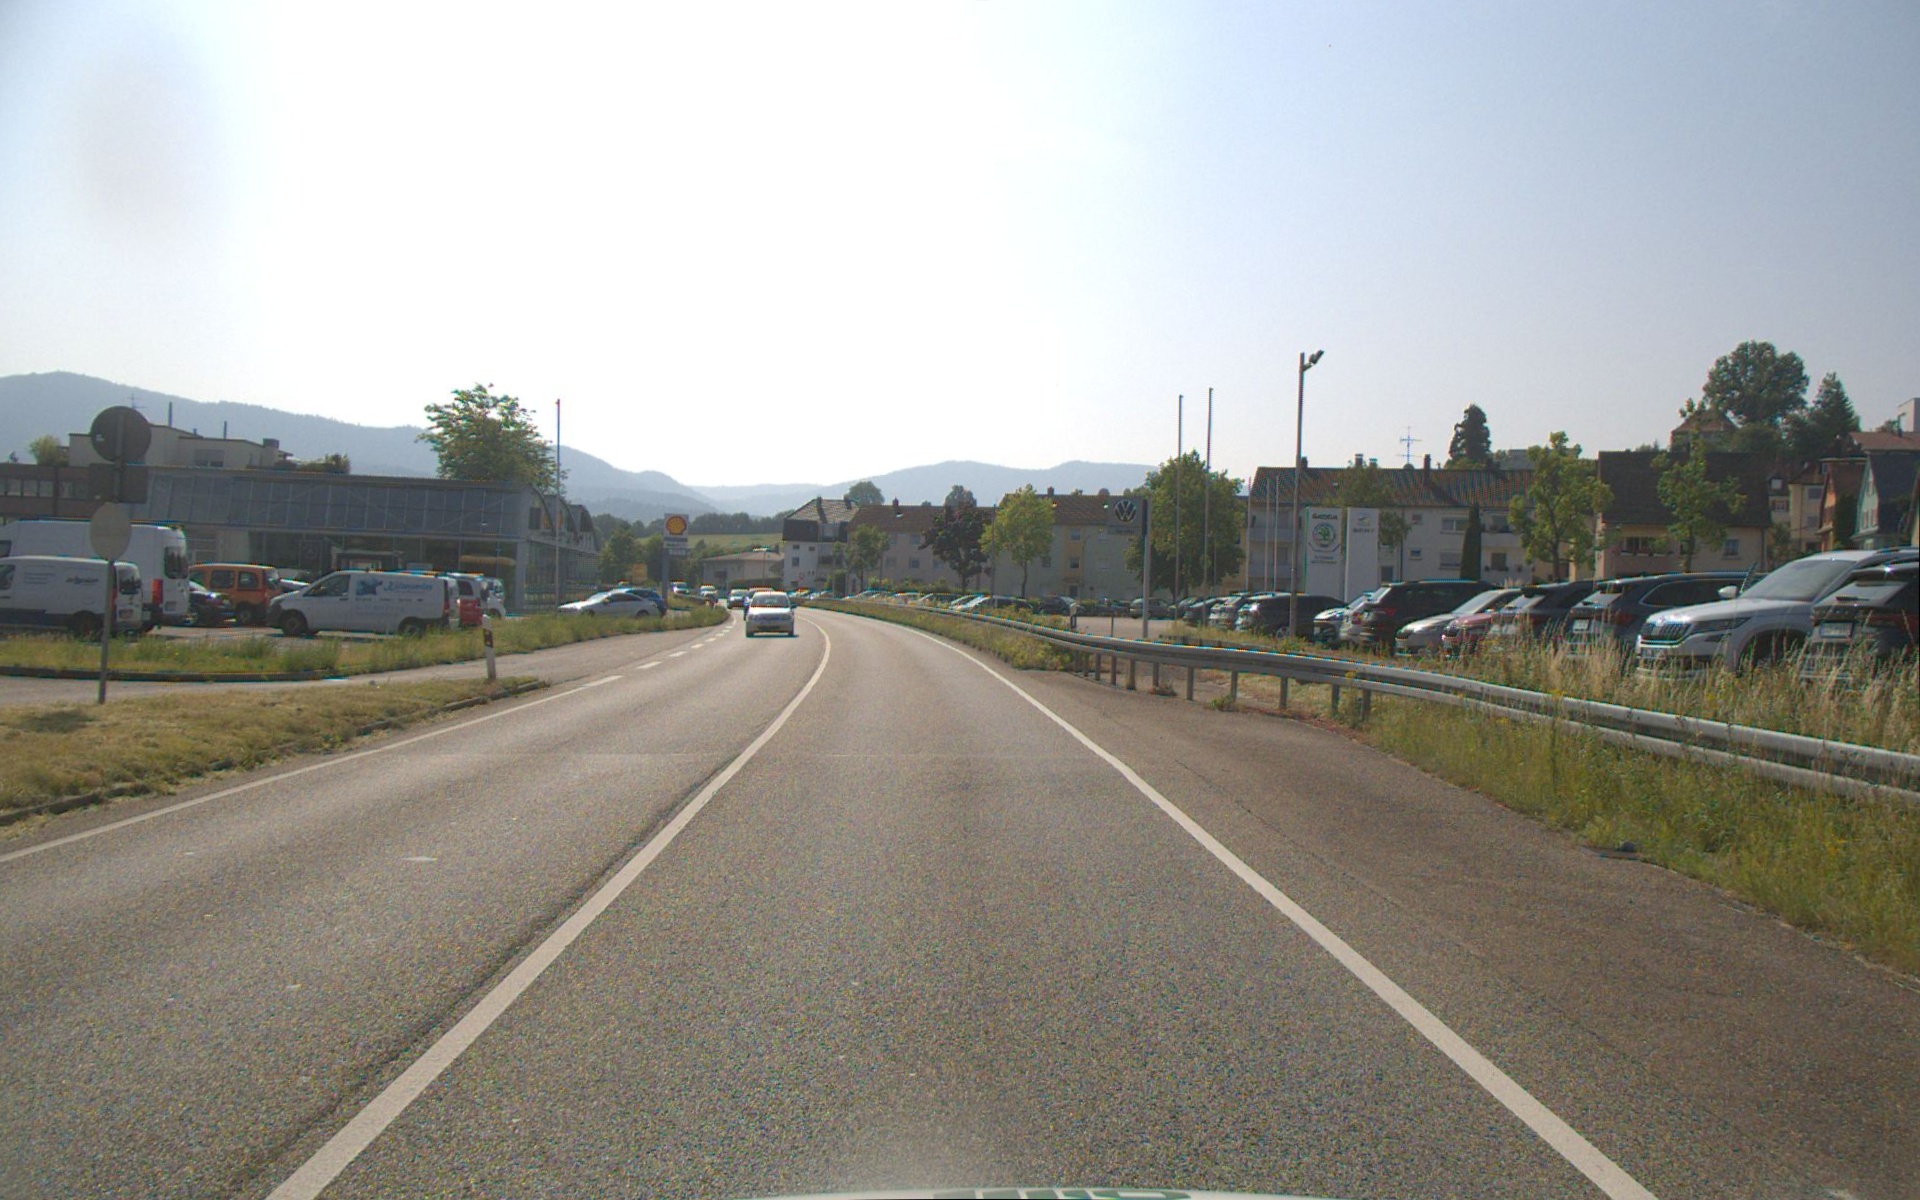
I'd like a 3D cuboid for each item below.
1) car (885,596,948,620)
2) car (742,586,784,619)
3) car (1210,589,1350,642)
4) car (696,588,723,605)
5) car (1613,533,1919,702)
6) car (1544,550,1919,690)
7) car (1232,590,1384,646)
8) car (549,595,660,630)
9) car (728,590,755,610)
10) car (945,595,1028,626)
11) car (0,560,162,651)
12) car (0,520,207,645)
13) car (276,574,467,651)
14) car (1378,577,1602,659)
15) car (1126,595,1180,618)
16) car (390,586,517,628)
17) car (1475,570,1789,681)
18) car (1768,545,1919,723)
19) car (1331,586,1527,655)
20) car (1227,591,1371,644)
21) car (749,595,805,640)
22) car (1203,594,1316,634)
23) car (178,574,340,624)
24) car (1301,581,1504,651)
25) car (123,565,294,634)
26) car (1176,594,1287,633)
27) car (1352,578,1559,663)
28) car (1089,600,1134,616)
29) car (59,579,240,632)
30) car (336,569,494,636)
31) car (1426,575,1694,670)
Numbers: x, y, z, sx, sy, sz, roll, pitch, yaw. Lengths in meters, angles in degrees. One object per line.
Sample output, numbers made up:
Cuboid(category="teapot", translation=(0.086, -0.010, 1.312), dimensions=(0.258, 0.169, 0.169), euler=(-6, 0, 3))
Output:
Cuboid(category="car", translation=(-2.917, 0.538, 110.716), dimensions=(3.919, 1.607, 1.772), euler=(1, 0, -14))
Cuboid(category="car", translation=(-10.298, 0.132, 86.769), dimensions=(1.775, 1.658, 4.540), euler=(-1, 0, -2))
Cuboid(category="car", translation=(10.049, 0.487, 52.120), dimensions=(3.999, 1.638, 1.790), euler=(1, 0, -7))
Cuboid(category="car", translation=(-24.780, -0.357, 163.453), dimensions=(1.767, 1.658, 4.200), euler=(-1, 0, -21))
Cuboid(category="car", translation=(9.222, 0.187, 17.454), dimensions=(3.907, 1.660, 1.920), euler=(0, 0, -3))
Cuboid(category="car", translation=(9.701, 0.249, 21.012), dimensions=(3.905, 1.660, 1.921), euler=(0, 0, 1))
Cuboid(category="car", translation=(9.837, 0.509, 46.908), dimensions=(3.906, 1.520, 1.729), euler=(0, 0, -2))
Cuboid(category="car", translation=(-15.116, 0.516, 70.479), dimensions=(1.822, 1.391, 4.366), euler=(1, 1, 43))
Cuboid(category="car", translation=(-16.624, -0.007, 125.942), dimensions=(1.721, 1.500, 4.274), euler=(-1, 0, -12))
Cuboid(category="car", translation=(1.341, 0.533, 85.201), dimensions=(4.081, 1.517, 1.728), euler=(-1, 0, -8))
Cuboid(category="car", translation=(-20.721, 0.084, 37.327), dimensions=(4.360, 1.872, 1.984), euler=(3, 0, -7))
Cuboid(category="car", translation=(-21.828, -0.446, 40.470), dimensions=(5.609, 2.793, 2.283), euler=(3, -1, -5))
Cuboid(category="car", translation=(-16.330, 0.335, 46.106), dimensions=(4.582, 1.890, 2.141), euler=(2, 0, -7))
Cuboid(category="car", translation=(9.843, 0.329, 30.885), dimensions=(3.655, 1.484, 1.664), euler=(0, 0, 0))
Cuboid(category="car", translation=(13.702, 0.461, 117.314), dimensions=(3.723, 1.548, 1.636), euler=(1, 0, -36))
Cuboid(category="car", translation=(-19.000, 0.270, 62.164), dimensions=(1.865, 1.427, 4.202), euler=(1, -1, 43))
Cuboid(category="car", translation=(9.445, 0.346, 23.466), dimensions=(3.759, 1.484, 1.746), euler=(0, 0, 0))
Cuboid(category="car", translation=(9.610, 0.300, 14.712), dimensions=(3.906, 1.477, 1.950), euler=(0, 0, -1))
Cuboid(category="car", translation=(10.439, 0.450, 37.026), dimensions=(3.951, 1.512, 1.723), euler=(0, 0, 3))
Cuboid(category="car", translation=(10.140, 0.524, 49.679), dimensions=(3.908, 1.520, 1.789), euler=(0, 0, -4))
Cuboid(category="car", translation=(-6.330, 0.596, 57.521), dimensions=(1.643, 1.498, 3.705), euler=(-1, 0, -2))
Cuboid(category="car", translation=(11.678, 0.545, 64.630), dimensions=(4.013, 1.542, 1.822), euler=(0, 0, -6))
Cuboid(category="car", translation=(-22.664, -0.030, 53.612), dimensions=(4.380, 1.423, 1.964), euler=(2, 0, -7))
Cuboid(category="car", translation=(10.575, 0.369, 39.724), dimensions=(4.360, 1.628, 1.853), euler=(0, 0, -5))
Cuboid(category="car", translation=(-23.161, -0.020, 51.099), dimensions=(4.297, 1.839, 1.998), euler=(3, 0, -7))
Cuboid(category="car", translation=(11.034, 0.549, 67.313), dimensions=(4.079, 1.542, 1.821), euler=(0, 0, -9))
Cuboid(category="car", translation=(10.202, 0.415, 34.259), dimensions=(3.797, 1.693, 1.841), euler=(0, 0, 3))
Cuboid(category="car", translation=(11.725, 0.617, 127.840), dimensions=(1.574, 1.207, 3.620), euler=(1, 0, -33))
Cuboid(category="car", translation=(-23.438, 0.160, 47.946), dimensions=(4.297, 1.342, 1.797), euler=(2, 0, -7))
Cuboid(category="car", translation=(-18.629, 0.083, 56.762), dimensions=(4.701, 2.016, 2.226), euler=(3, 0, -7))
Cuboid(category="car", translation=(10.290, 0.381, 28.563), dimensions=(3.999, 1.579, 1.781), euler=(0, 0, 0))
